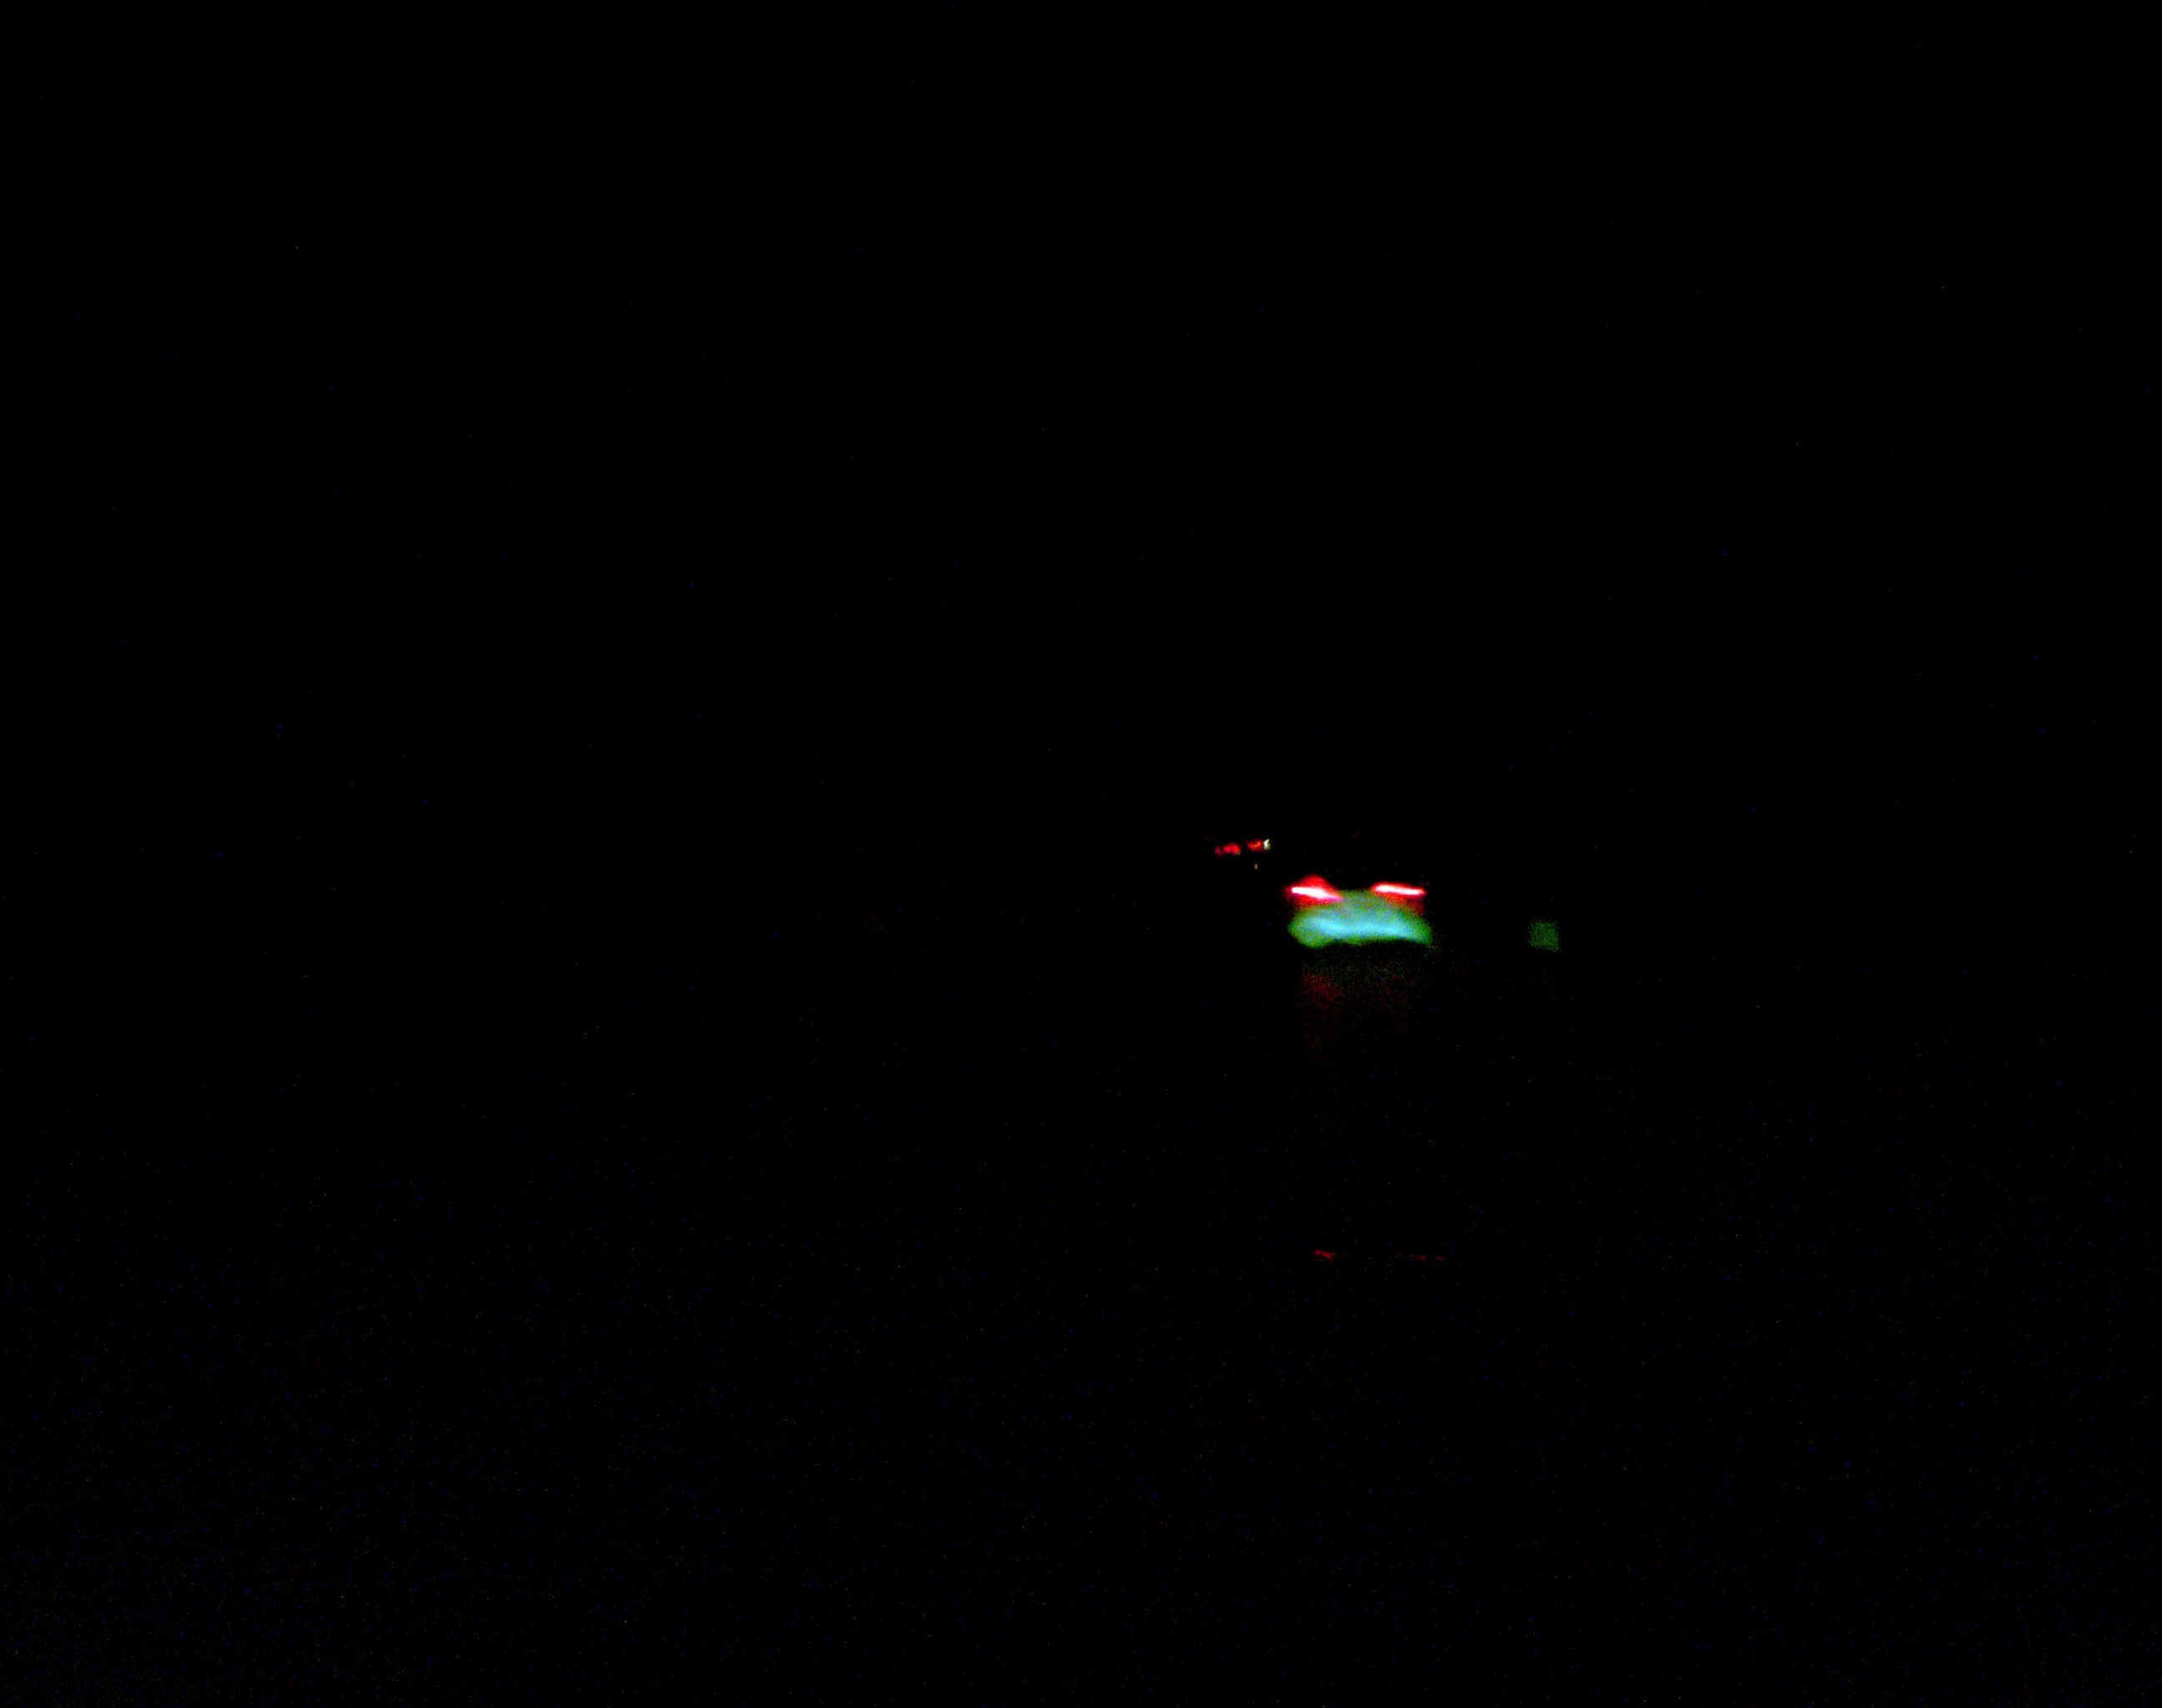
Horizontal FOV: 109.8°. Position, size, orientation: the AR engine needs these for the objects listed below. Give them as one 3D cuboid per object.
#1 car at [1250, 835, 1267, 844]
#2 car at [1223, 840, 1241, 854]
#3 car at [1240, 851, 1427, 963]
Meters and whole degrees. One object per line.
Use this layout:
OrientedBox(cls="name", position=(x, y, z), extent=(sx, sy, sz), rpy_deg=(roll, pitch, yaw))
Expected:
OrientedBox(cls="car", position=(30.080, -2.432, 128.844), extent=(1.932, 1.575, 4.991), rpy_deg=(1, 2, 22))
OrientedBox(cls="car", position=(19.784, -0.968, 99.657), extent=(1.996, 1.699, 4.989), rpy_deg=(0, 2, 14))
OrientedBox(cls="car", position=(4.024, 0.742, 12.917), extent=(1.775, 1.475, 4.380), rpy_deg=(-2, 1, 2))
